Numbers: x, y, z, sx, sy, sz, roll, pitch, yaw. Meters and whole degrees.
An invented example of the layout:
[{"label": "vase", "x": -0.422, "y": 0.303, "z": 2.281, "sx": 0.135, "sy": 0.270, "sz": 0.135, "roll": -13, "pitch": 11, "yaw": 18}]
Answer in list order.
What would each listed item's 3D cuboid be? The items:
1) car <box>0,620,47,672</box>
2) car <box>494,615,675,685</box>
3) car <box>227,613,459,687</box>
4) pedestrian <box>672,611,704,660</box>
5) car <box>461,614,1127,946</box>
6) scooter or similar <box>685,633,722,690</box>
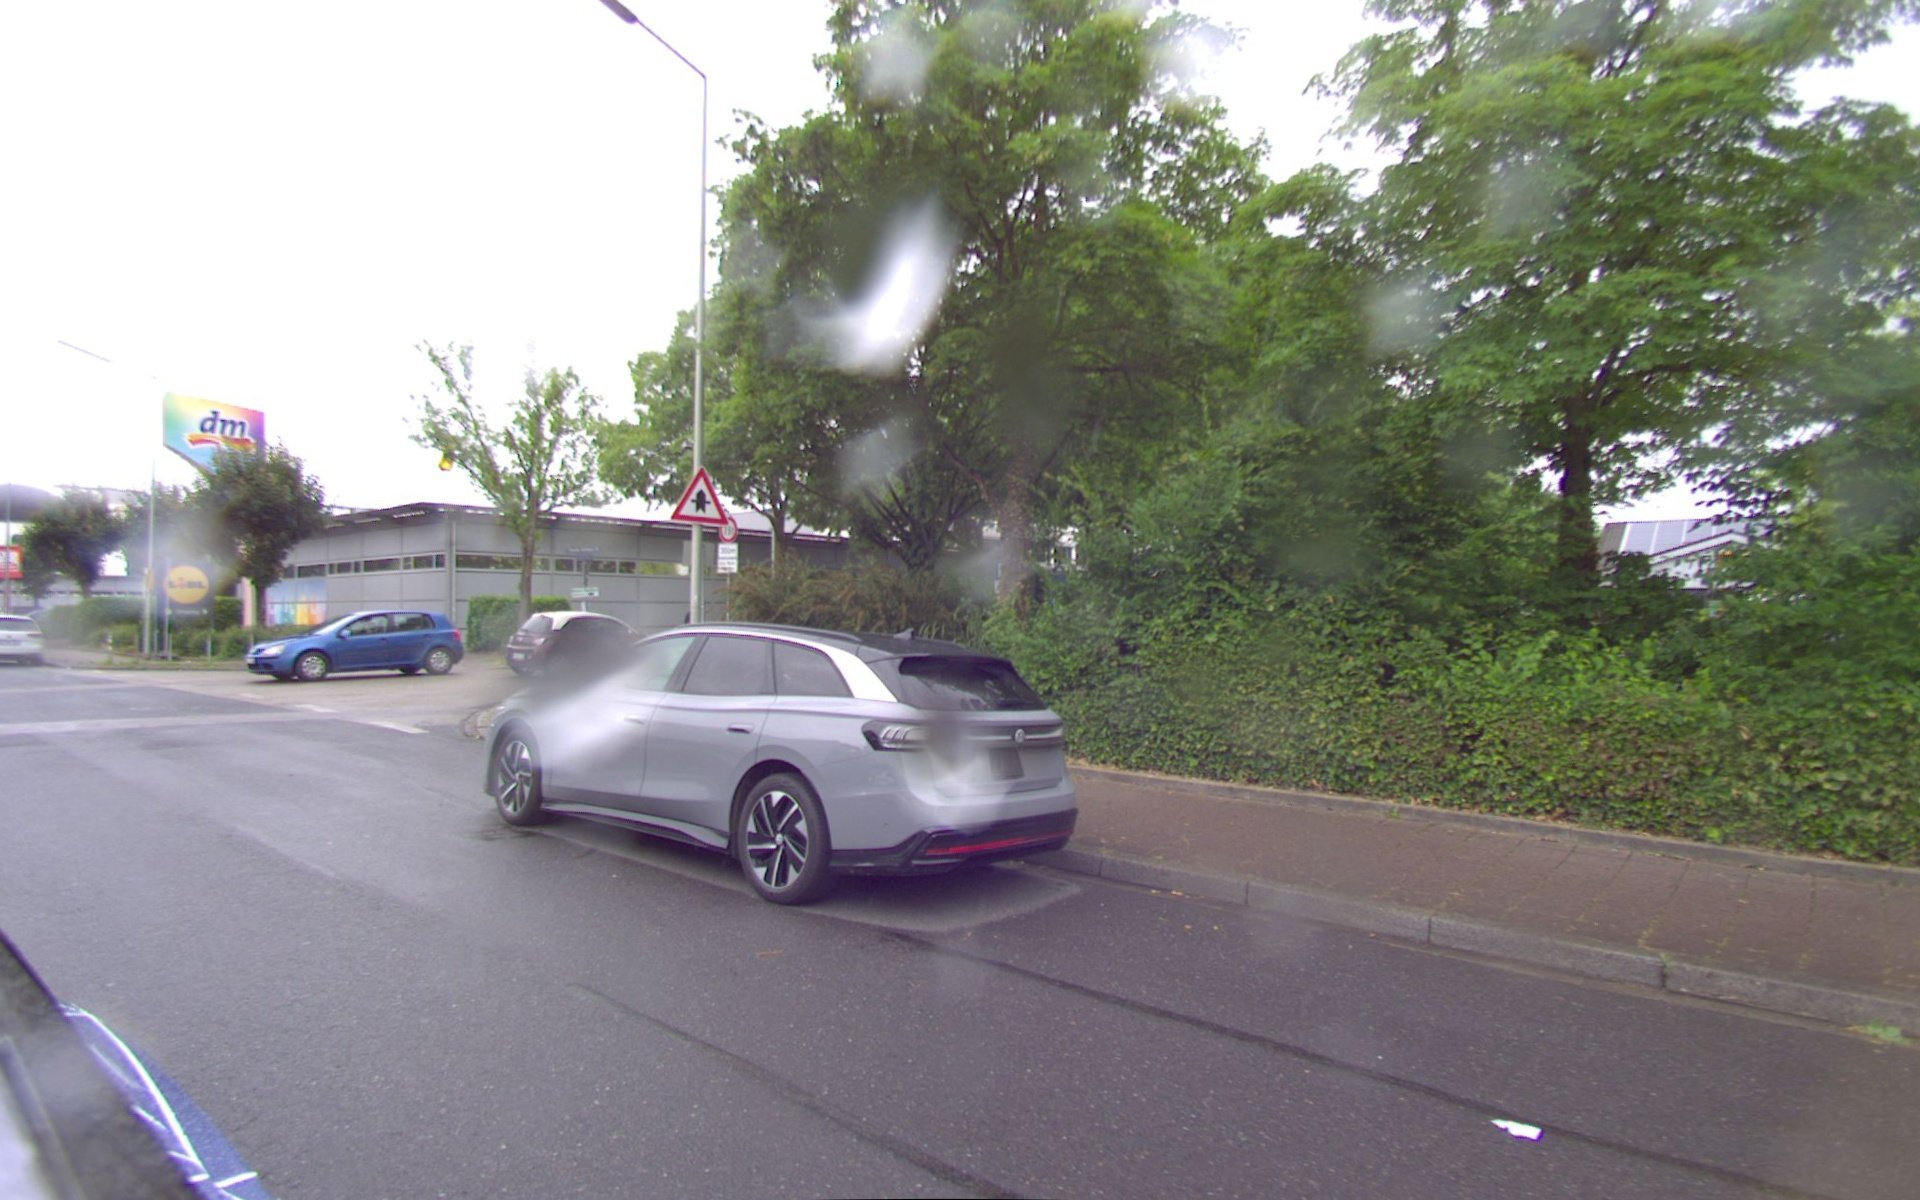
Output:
[{"label": "car", "x": -28.101, "y": 1.285, "z": 29.303, "sx": 4.488, "sy": 1.445, "sz": 1.817, "roll": -1, "pitch": -3, "yaw": 40}, {"label": "car", "x": -8.527, "y": 1.099, "z": 23.145, "sx": 1.638, "sy": 1.466, "sz": 3.527, "roll": -3, "pitch": -3, "yaw": 43}, {"label": "car", "x": -13.281, "y": 1.055, "z": 21.987, "sx": 1.734, "sy": 1.452, "sz": 3.947, "roll": -1, "pitch": -2, "yaw": 39}, {"label": "pedestrian", "x": -9.472, "y": 1.218, "z": 35.308, "sx": 0.757, "sy": 1.686, "sz": 0.772, "roll": -1, "pitch": -2, "yaw": 37}, {"label": "car", "x": -1.392, "y": 0.935, "z": 6.984, "sx": 4.743, "sy": 1.540, "sz": 1.791, "roll": 0, "pitch": -5, "yaw": 39}, {"label": "scooter or similar", "x": -5.507, "y": 1.305, "z": 21.735, "sx": 0.280, "sy": 1.184, "sz": 1.061, "roll": 1, "pitch": -2, "yaw": -43}]
